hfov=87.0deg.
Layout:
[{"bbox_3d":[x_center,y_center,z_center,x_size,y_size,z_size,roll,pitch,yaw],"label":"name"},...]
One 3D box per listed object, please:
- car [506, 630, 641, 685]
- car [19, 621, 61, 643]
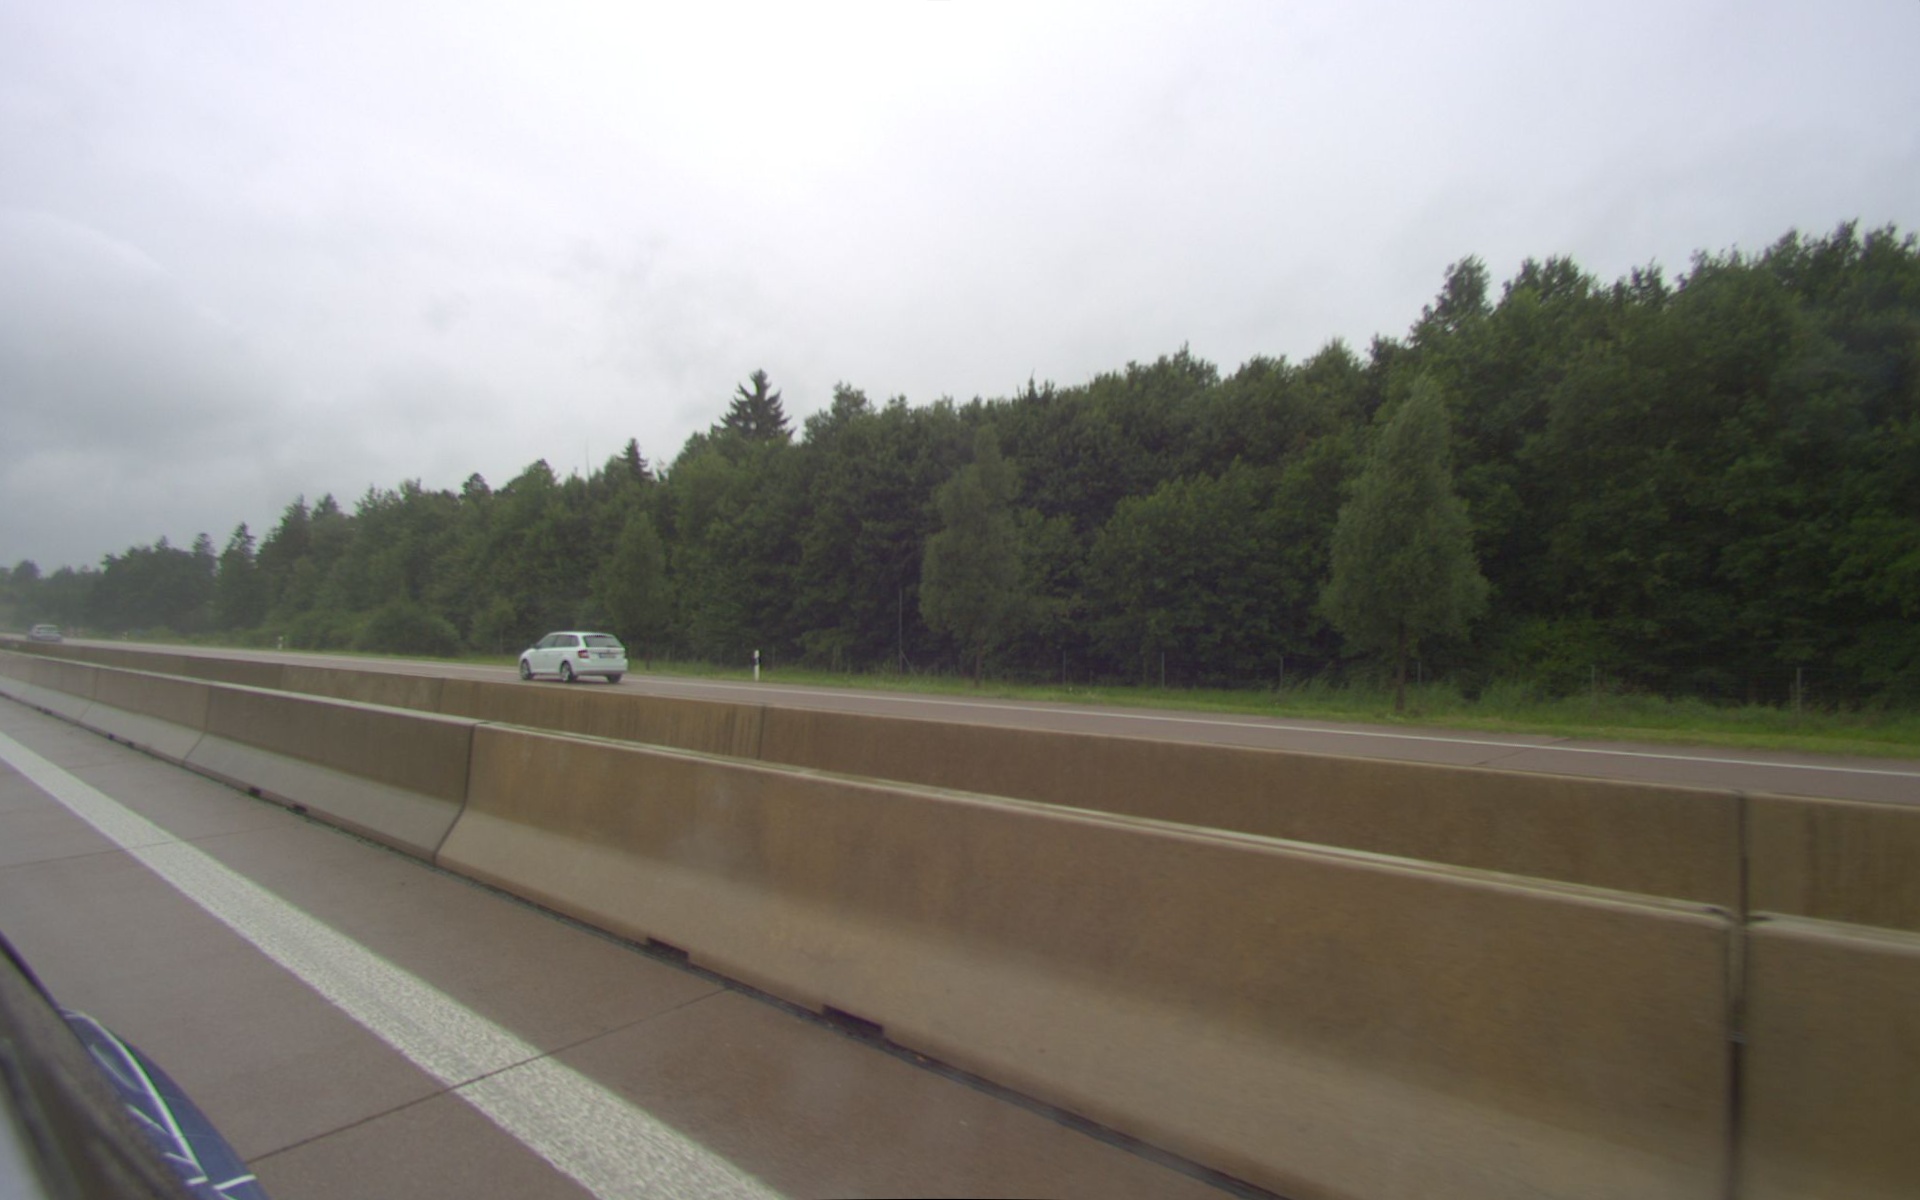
[{"bbox_3d":[-11.471,1.673,29.881,4.581,1.491,1.735,-1,-4,41],"label":"car"},{"bbox_3d":[-69.558,2.420,76.516,4.503,1.644,1.789,-2,-3,41],"label":"car"}]
